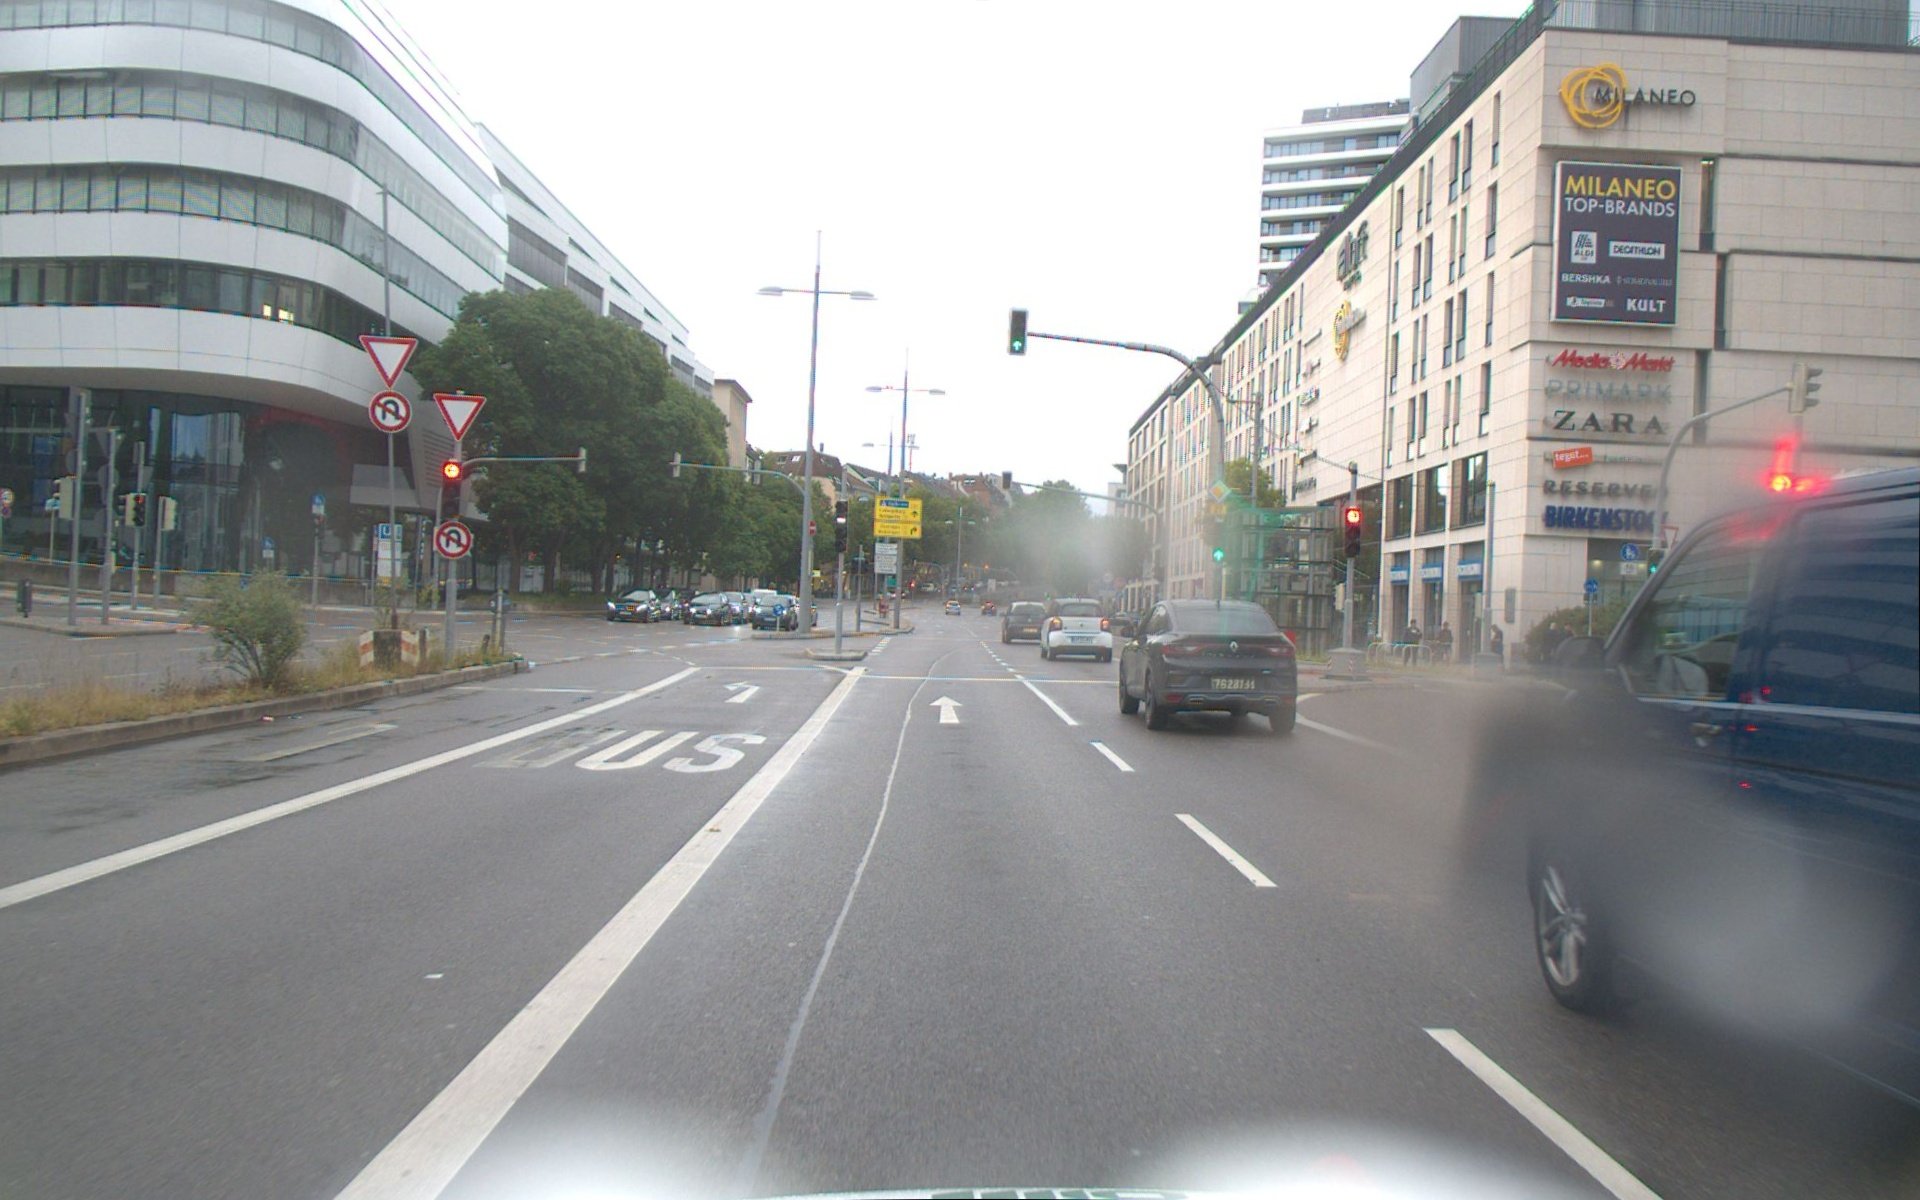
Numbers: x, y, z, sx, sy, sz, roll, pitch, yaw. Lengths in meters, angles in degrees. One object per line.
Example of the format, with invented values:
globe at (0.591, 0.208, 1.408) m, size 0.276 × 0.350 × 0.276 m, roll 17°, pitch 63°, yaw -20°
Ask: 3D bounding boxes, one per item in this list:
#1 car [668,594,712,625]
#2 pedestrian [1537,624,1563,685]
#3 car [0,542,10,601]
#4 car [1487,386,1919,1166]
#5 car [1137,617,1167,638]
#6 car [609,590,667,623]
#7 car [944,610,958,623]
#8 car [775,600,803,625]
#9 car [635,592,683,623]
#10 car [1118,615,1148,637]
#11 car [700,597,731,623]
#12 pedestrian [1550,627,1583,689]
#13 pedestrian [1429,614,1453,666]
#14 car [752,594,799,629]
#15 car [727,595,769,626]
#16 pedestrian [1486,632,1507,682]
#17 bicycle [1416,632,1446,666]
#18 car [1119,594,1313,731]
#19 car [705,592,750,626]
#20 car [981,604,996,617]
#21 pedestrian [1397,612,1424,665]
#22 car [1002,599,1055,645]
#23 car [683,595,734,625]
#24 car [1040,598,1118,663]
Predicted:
car at (-14.217, 0.516, 87.317) m, size 1.707 × 1.586 × 3.539 m, roll 1°, pitch -1°, yaw 0°
pedestrian at (17.828, 1.641, 50.011) m, size 0.435 × 1.811 × 0.588 m, roll 2°, pitch -2°, yaw -34°
car at (-29.539, -0.862, 46.940) m, size 4.406 × 1.660 × 1.896 m, roll 1°, pitch -1°, yaw 16°
car at (3.359, 0.438, 4.870) m, size 1.991 × 1.915 × 5.042 m, roll 1°, pitch 0°, yaw 0°
car at (12.312, 1.779, 106.234) m, size 1.475 × 1.288 × 3.501 m, roll 1°, pitch -1°, yaw 0°
car at (-14.220, 0.300, 73.205) m, size 1.707 × 1.352 × 4.225 m, roll 1°, pitch -1°, yaw 0°
car at (-1.063, 2.013, 200.388) m, size 1.704 × 1.558 × 3.813 m, roll 1°, pitch 0°, yaw 0°
car at (-12.692, 0.921, 122.694) m, size 1.707 × 1.779 × 3.539 m, roll 1°, pitch -1°, yaw 0°
car at (-14.821, 0.388, 81.613) m, size 1.707 × 1.448 × 3.539 m, roll 1°, pitch -1°, yaw 0°
car at (11.686, 1.789, 111.904) m, size 1.627 × 1.425 × 3.831 m, roll 1°, pitch -1°, yaw 0°
car at (-17.912, 0.757, 121.122) m, size 1.707 × 1.779 × 3.539 m, roll 1°, pitch -1°, yaw 0°
pedestrian at (17.093, 1.630, 46.609) m, size 0.608 × 1.701 × 0.824 m, roll 1°, pitch -1°, yaw -1°
pedestrian at (15.393, 1.268, 52.916) m, size 0.539 × 1.639 × 0.698 m, roll 1°, pitch -1°, yaw -1°
car at (-8.181, 0.538, 73.555) m, size 1.707 × 1.470 × 3.394 m, roll 1°, pitch -1°, yaw 0°
car at (-11.077, 0.571, 86.639) m, size 1.707 × 1.586 × 3.539 m, roll 1°, pitch -1°, yaw 0°
pedestrian at (18.001, 1.902, 55.471) m, size 0.582 × 1.671 × 0.587 m, roll 1°, pitch -1°, yaw 24°
bicycle at (15.063, 1.559, 52.949) m, size 0.440 × 1.034 × 1.742 m, roll 1°, pitch -1°, yaw 0°
car at (3.160, 0.711, 21.211) m, size 1.754 × 1.533 × 4.338 m, roll 1°, pitch 0°, yaw -1°
car at (-11.463, 0.468, 81.877) m, size 1.707 × 1.586 × 3.539 m, roll 1°, pitch -1°, yaw 0°
car at (3.667, 1.315, 212.915) m, size 1.704 × 1.558 × 3.813 m, roll 1°, pitch -1°, yaw 0°
pedestrian at (14.325, 1.226, 52.619) m, size 0.600 × 1.639 × 0.818 m, roll 1°, pitch -1°, yaw 0°
car at (2.433, 0.785, 59.279) m, size 1.704 × 1.558 × 3.813 m, roll 1°, pitch -1°, yaw 0°
car at (-11.354, 0.437, 74.801) m, size 1.708 × 1.279 × 3.539 m, roll 2°, pitch 0°, yaw 0°
car at (3.007, 0.778, 42.399) m, size 1.689 × 1.558 × 3.813 m, roll 1°, pitch -1°, yaw 0°
